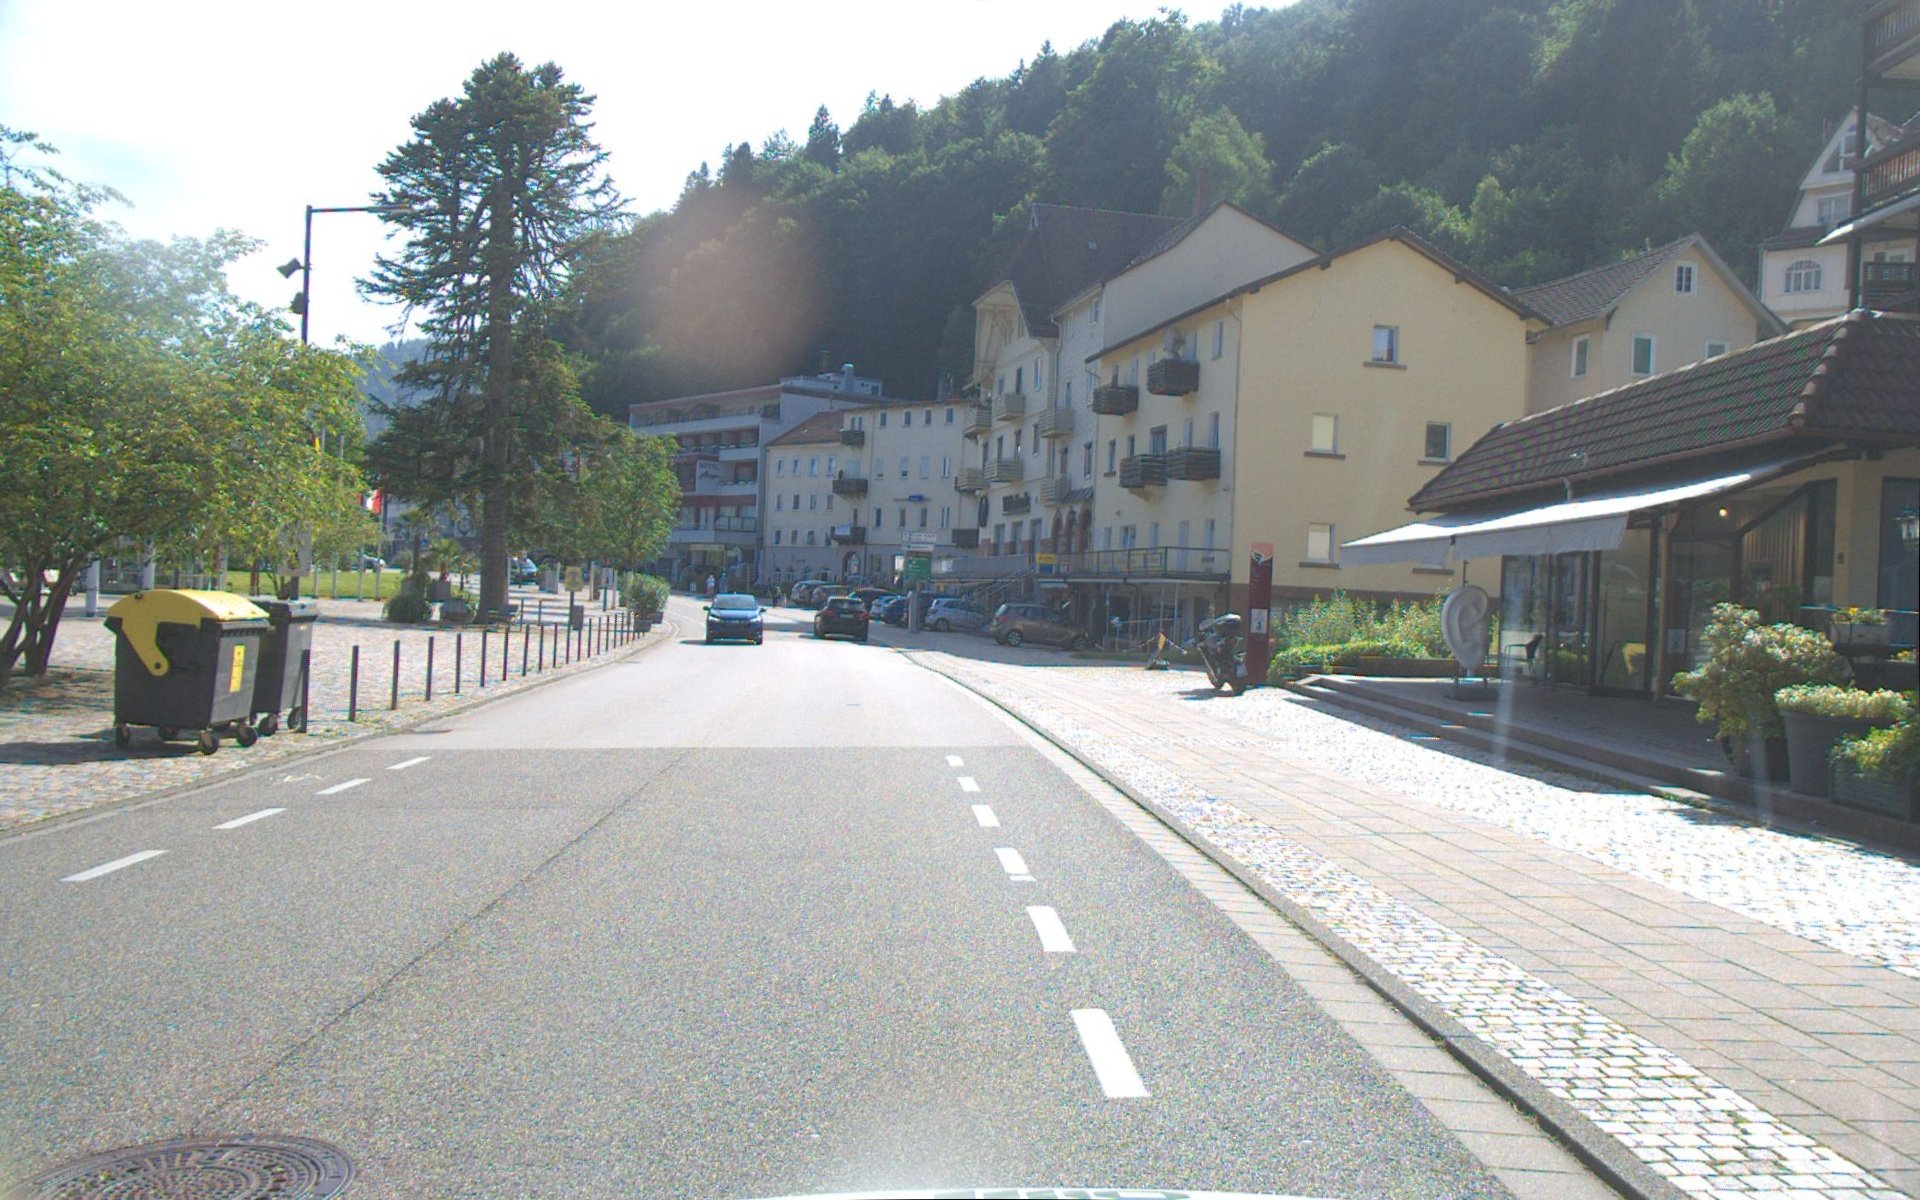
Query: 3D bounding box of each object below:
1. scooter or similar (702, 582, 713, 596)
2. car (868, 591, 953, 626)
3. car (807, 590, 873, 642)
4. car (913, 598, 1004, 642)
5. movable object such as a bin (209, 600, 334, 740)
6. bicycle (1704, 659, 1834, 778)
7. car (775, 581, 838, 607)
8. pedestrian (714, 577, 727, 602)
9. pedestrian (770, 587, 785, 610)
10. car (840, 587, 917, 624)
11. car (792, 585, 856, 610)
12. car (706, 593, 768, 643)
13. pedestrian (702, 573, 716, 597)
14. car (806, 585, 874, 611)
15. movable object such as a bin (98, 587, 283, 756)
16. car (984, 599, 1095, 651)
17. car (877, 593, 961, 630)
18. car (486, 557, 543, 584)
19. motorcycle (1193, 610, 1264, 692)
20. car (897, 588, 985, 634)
[{"bbox_3d":[-18.262,-0.795,119.641,0.591,0.967,0.469,3,0,-34],"label":"scooter or similar"},{"bbox_3d":[-2.649,0.466,88.456,4.276,1.486,1.769,4,-2,-9],"label":"car"},{"bbox_3d":[-4.434,0.574,60.659,1.698,1.601,3.740,4,2,-14],"label":"car"},{"bbox_3d":[-0.095,0.914,76.661,3.840,1.616,1.770,5,0,-11],"label":"car"},{"bbox_3d":[-7.253,0.711,17.487,0.740,1.365,1.293,4,0,-4],"label":"movable object such as a bin"},{"bbox_3d":[6.760,0.966,13.883,0.388,0.879,1.617,2,0,5],"label":"bicycle"},{"bbox_3d":[-10.236,-0.392,110.194,3.822,1.641,1.754,0,3,-32],"label":"car"},{"bbox_3d":[-17.379,-0.751,120.024,0.663,1.758,0.699,3,0,-33],"label":"pedestrian"},{"bbox_3d":[-11.492,-0.100,104.121,0.729,1.467,0.624,0,1,-37],"label":"pedestrian"},{"bbox_3d":[-4.583,0.301,93.026,4.012,1.694,1.768,6,0,-11],"label":"car"},{"bbox_3d":[-8.856,-0.170,107.925,3.822,1.576,1.754,0,3,-32],"label":"car"},{"bbox_3d":[-6.900,0.536,51.495,1.707,1.488,4.182,1,0,-5],"label":"car"},{"bbox_3d":[-18.151,-1.090,119.488,0.750,1.621,0.621,3,0,-33],"label":"pedestrian"},{"bbox_3d":[-7.615,-0.150,105.218,3.969,1.542,1.754,0,3,-32],"label":"car"},{"bbox_3d":[-7.212,0.641,15.585,1.057,1.452,1.376,4,0,-4],"label":"movable object such as a bin"},{"bbox_3d":[3.020,0.952,63.136,3.794,1.581,1.755,5,0,-14],"label":"car"},{"bbox_3d":[-2.057,0.553,81.913,3.840,1.486,1.732,5,0,-11],"label":"car"},{"bbox_3d":[-33.841,-2.231,125.616,4.931,1.987,1.848,2,0,44],"label":"car"},{"bbox_3d":[4.537,0.845,28.130,0.683,1.319,2.210,0,0,-5],"label":"motorcycle"},{"bbox_3d":[-0.926,0.520,79.329,3.840,1.835,1.853,6,-1,-11],"label":"car"}]
